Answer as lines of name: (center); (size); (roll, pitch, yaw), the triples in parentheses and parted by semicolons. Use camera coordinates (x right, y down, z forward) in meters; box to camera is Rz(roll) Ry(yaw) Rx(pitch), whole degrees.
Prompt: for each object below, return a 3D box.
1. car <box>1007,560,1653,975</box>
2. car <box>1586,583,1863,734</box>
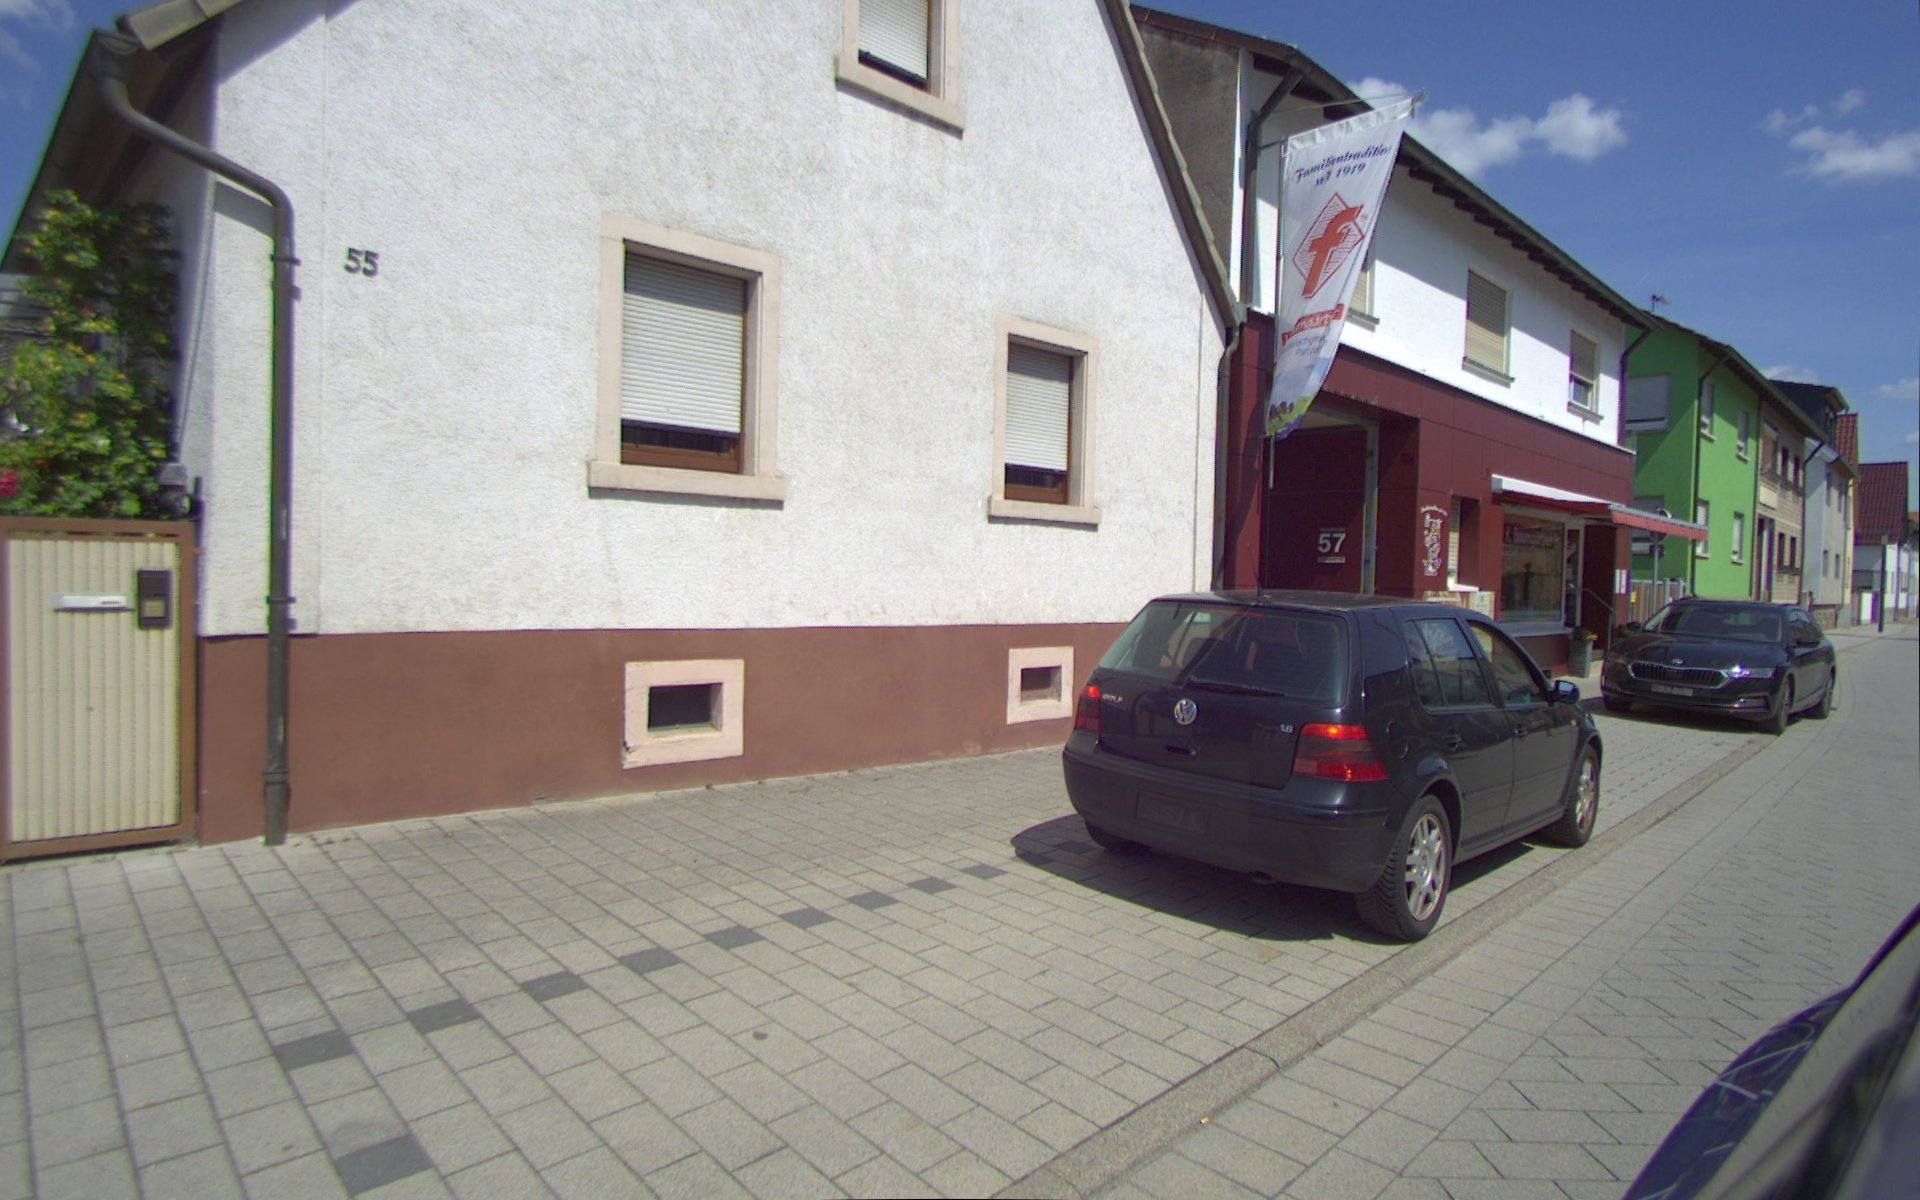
car: (2.319, 0.585, 5.711); (4.050, 1.456, 1.762); (0, 3, -43)
car: (9.799, 0.600, 12.837); (4.506, 1.476, 1.862); (0, 4, -41)
